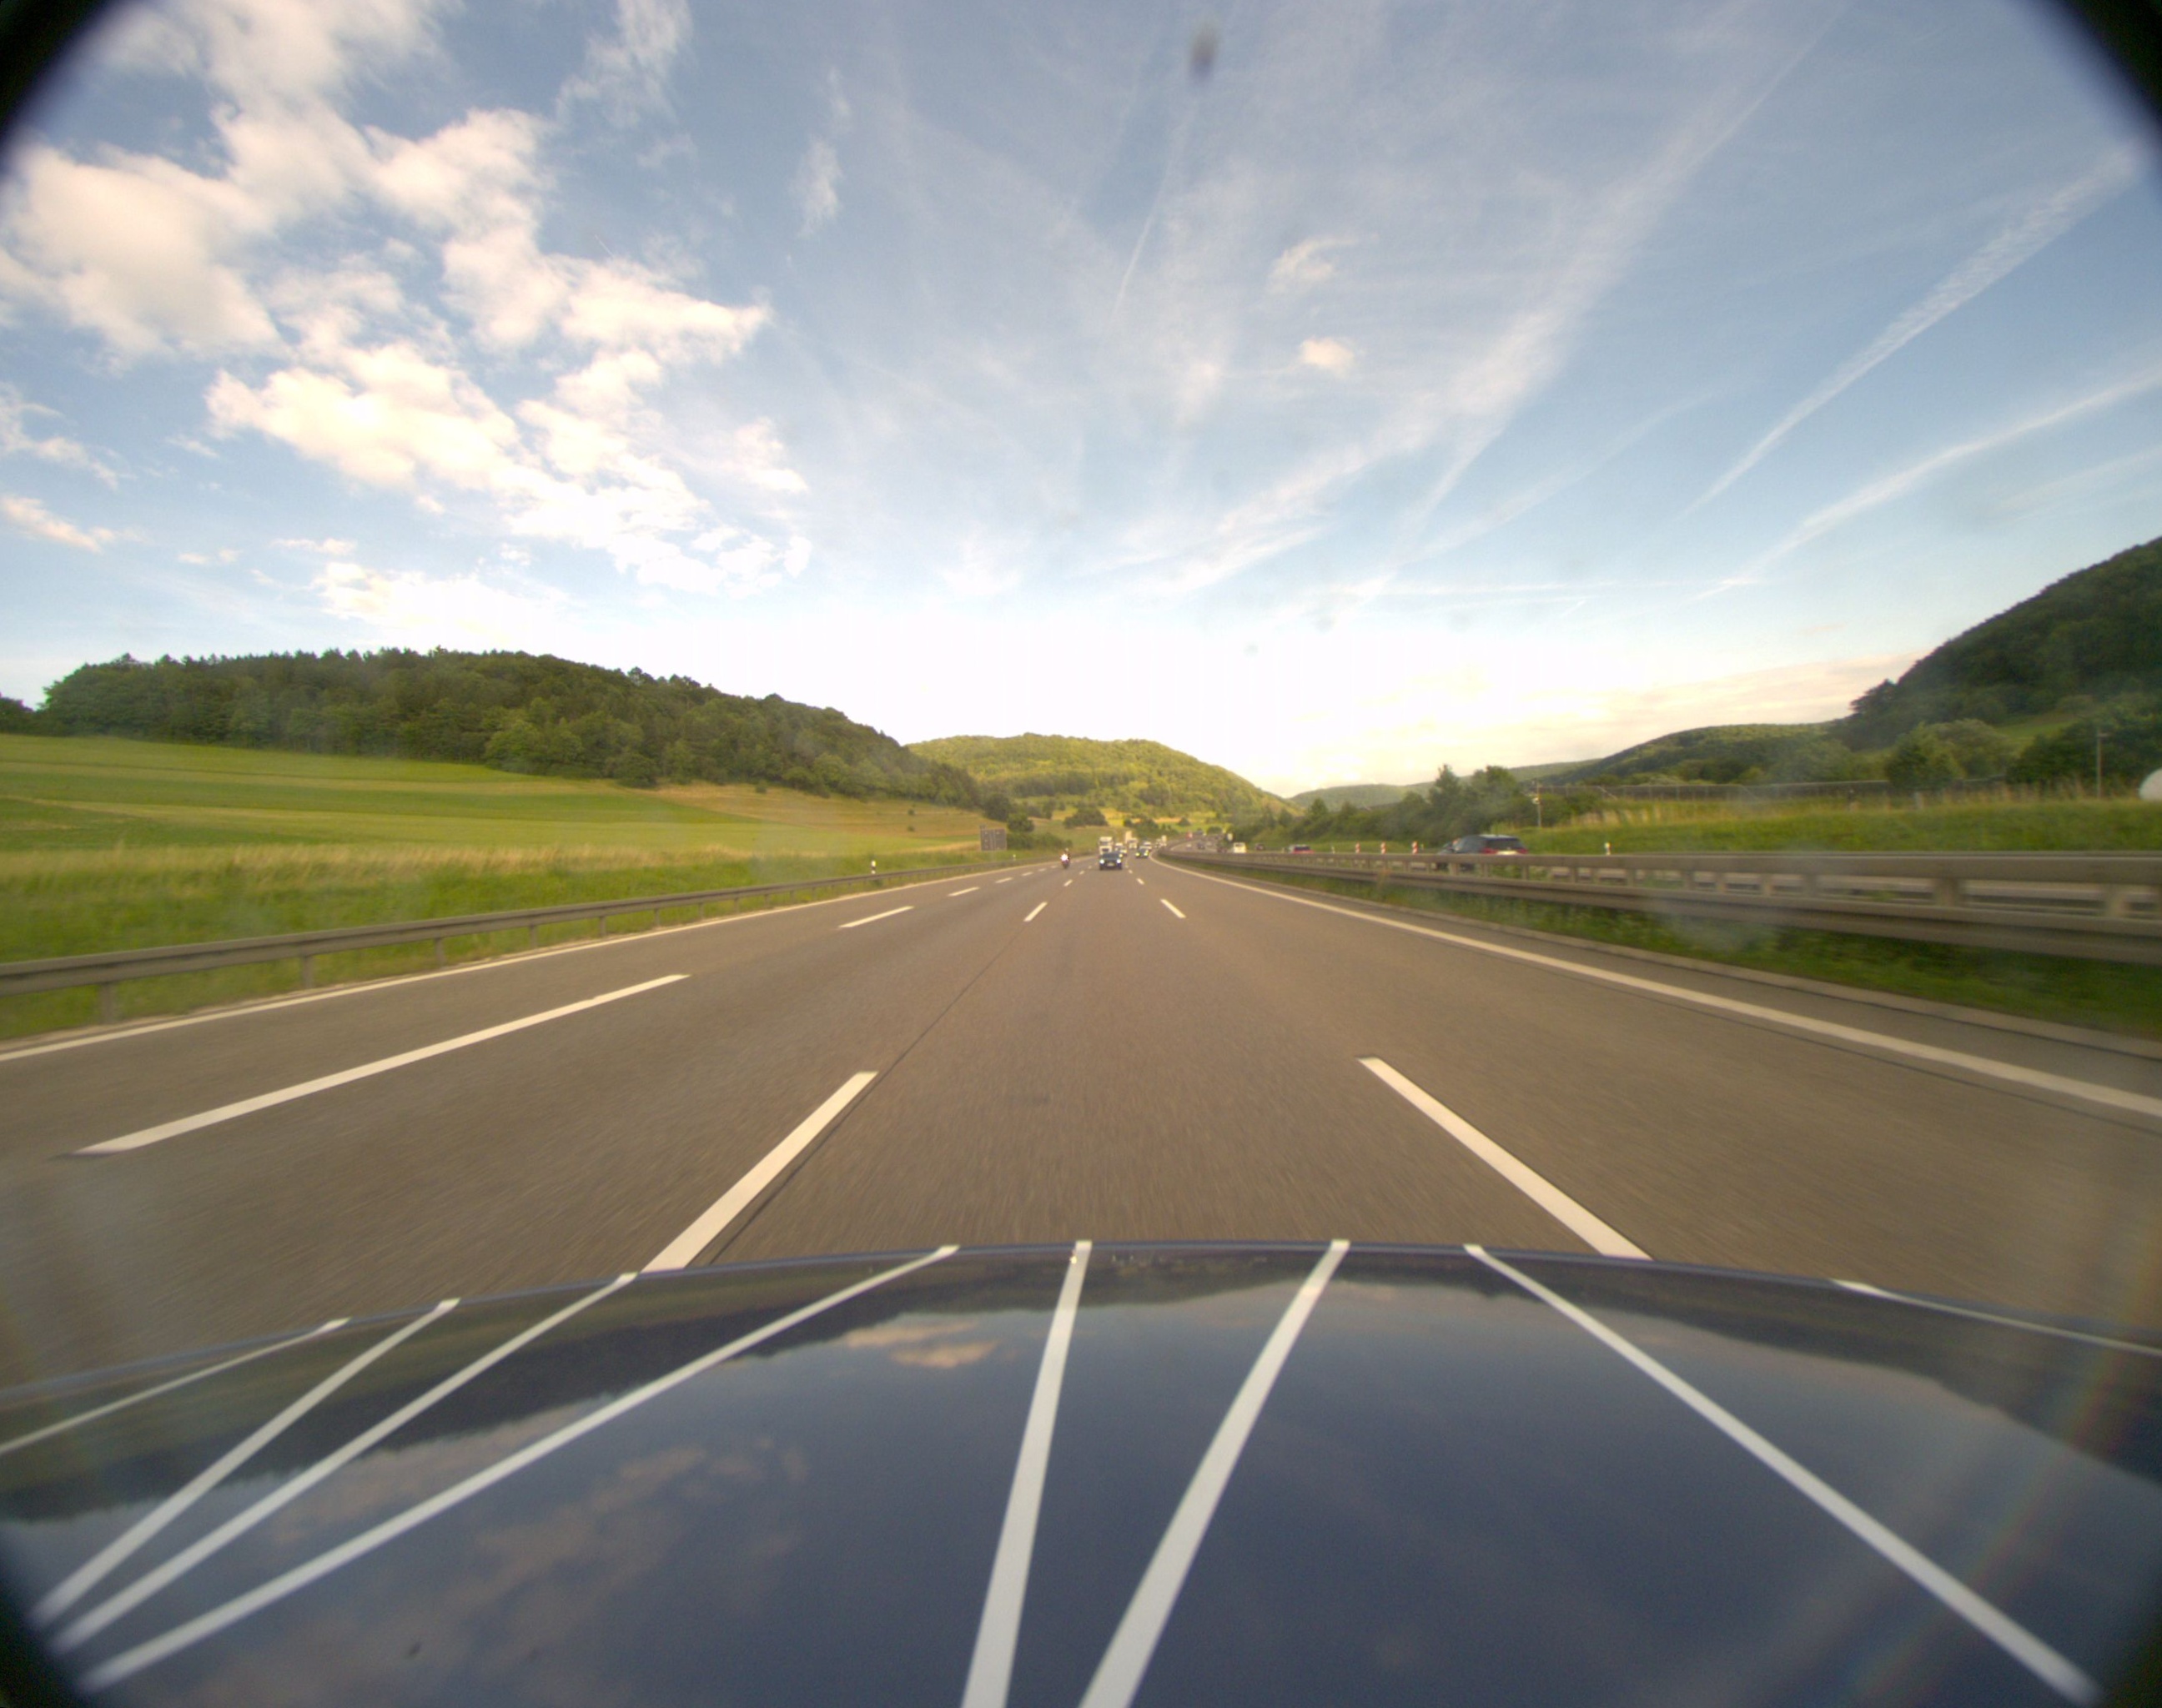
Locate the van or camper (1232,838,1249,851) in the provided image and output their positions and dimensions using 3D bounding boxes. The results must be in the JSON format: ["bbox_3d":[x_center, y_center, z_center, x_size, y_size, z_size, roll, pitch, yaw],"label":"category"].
[{"bbox_3d":[25.039,-1.477,119.326,1.920,1.863,4.755,-1,1,3],"label":"van or camper"}]

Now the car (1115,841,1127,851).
[{"bbox_3d":[7.723,-1.564,146.818,1.997,1.871,4.001,0,1,6],"label":"car"}]

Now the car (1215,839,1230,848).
[{"bbox_3d":[27.663,-2.039,148.455,1.998,1.488,4.692,-2,0,0],"label":"car"}]

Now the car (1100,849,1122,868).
[{"bbox_3d":[2.365,0.327,60.939,1.580,1.311,3.998,-2,2,0],"label":"car"}]

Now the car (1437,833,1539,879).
[{"bbox_3d":[16.109,0.006,30.351,1.811,1.605,4.340,-2,2,2],"label":"car"}]

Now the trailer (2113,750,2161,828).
[{"bbox_3d":[40.504,-2.229,22.742,2.585,2.837,12.258,-2,2,0],"label":"trailer"}]

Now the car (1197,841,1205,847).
[{"bbox_3d":[35.705,-2.985,226.156,1.799,1.488,4.499,-2,1,0],"label":"car"}]

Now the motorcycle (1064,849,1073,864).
[{"bbox_3d":[-1.127,0.230,68.897,0.628,1.331,1.739,-2,2,4],"label":"motorcycle"}]

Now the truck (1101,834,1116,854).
[{"bbox_3d":[5.940,-2.343,164.790,2.971,3.970,17.728,-2,2,2],"label":"truck"}]

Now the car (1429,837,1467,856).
[{"bbox_3d":[32.052,-0.699,66.329,1.994,1.542,4.628,0,1,38],"label":"car"}]

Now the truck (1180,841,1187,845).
[{"bbox_3d":[36.052,-3.990,266.592,1.998,1.357,4.646,-2,1,3],"label":"truck"}]

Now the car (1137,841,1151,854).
[{"bbox_3d":[10.093,-1.071,122.067,1.997,1.871,4.002,0,1,9],"label":"car"}]

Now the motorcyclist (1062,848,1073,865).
[{"bbox_3d":[-1.225,0.220,68.764,0.878,1.506,0.798,-2,3,9],"label":"motorcyclist"}]

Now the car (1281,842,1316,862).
[{"bbox_3d":[17.050,-0.192,59.709,1.845,1.521,4.215,0,1,4],"label":"car"}]
